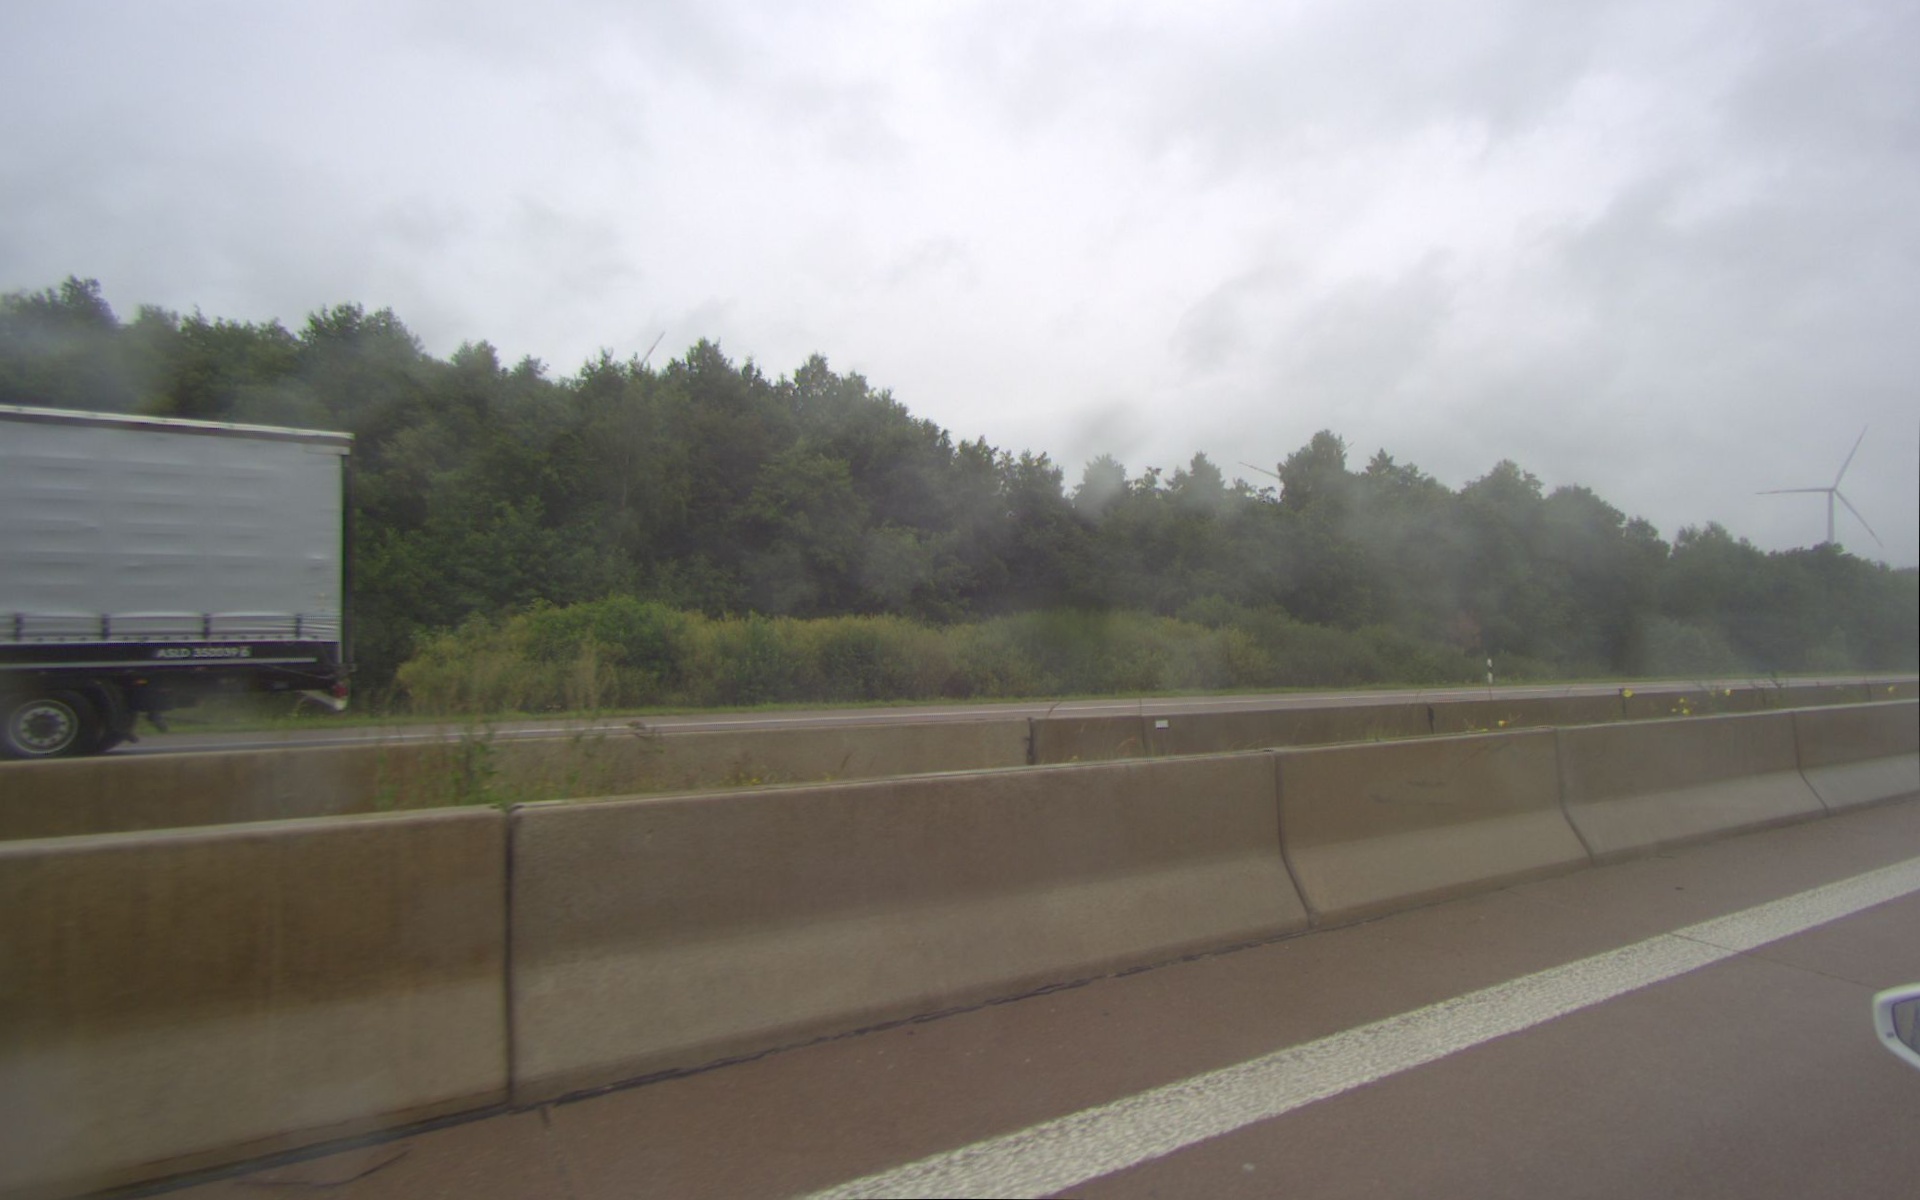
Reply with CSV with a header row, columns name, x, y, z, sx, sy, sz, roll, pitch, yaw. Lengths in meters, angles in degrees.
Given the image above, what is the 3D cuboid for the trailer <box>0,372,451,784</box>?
name,x,y,z,sx,sy,sz,roll,pitch,yaw
trailer,-12.908,-0.309,11.579,12.303,4.525,3.412,2,0,-31
